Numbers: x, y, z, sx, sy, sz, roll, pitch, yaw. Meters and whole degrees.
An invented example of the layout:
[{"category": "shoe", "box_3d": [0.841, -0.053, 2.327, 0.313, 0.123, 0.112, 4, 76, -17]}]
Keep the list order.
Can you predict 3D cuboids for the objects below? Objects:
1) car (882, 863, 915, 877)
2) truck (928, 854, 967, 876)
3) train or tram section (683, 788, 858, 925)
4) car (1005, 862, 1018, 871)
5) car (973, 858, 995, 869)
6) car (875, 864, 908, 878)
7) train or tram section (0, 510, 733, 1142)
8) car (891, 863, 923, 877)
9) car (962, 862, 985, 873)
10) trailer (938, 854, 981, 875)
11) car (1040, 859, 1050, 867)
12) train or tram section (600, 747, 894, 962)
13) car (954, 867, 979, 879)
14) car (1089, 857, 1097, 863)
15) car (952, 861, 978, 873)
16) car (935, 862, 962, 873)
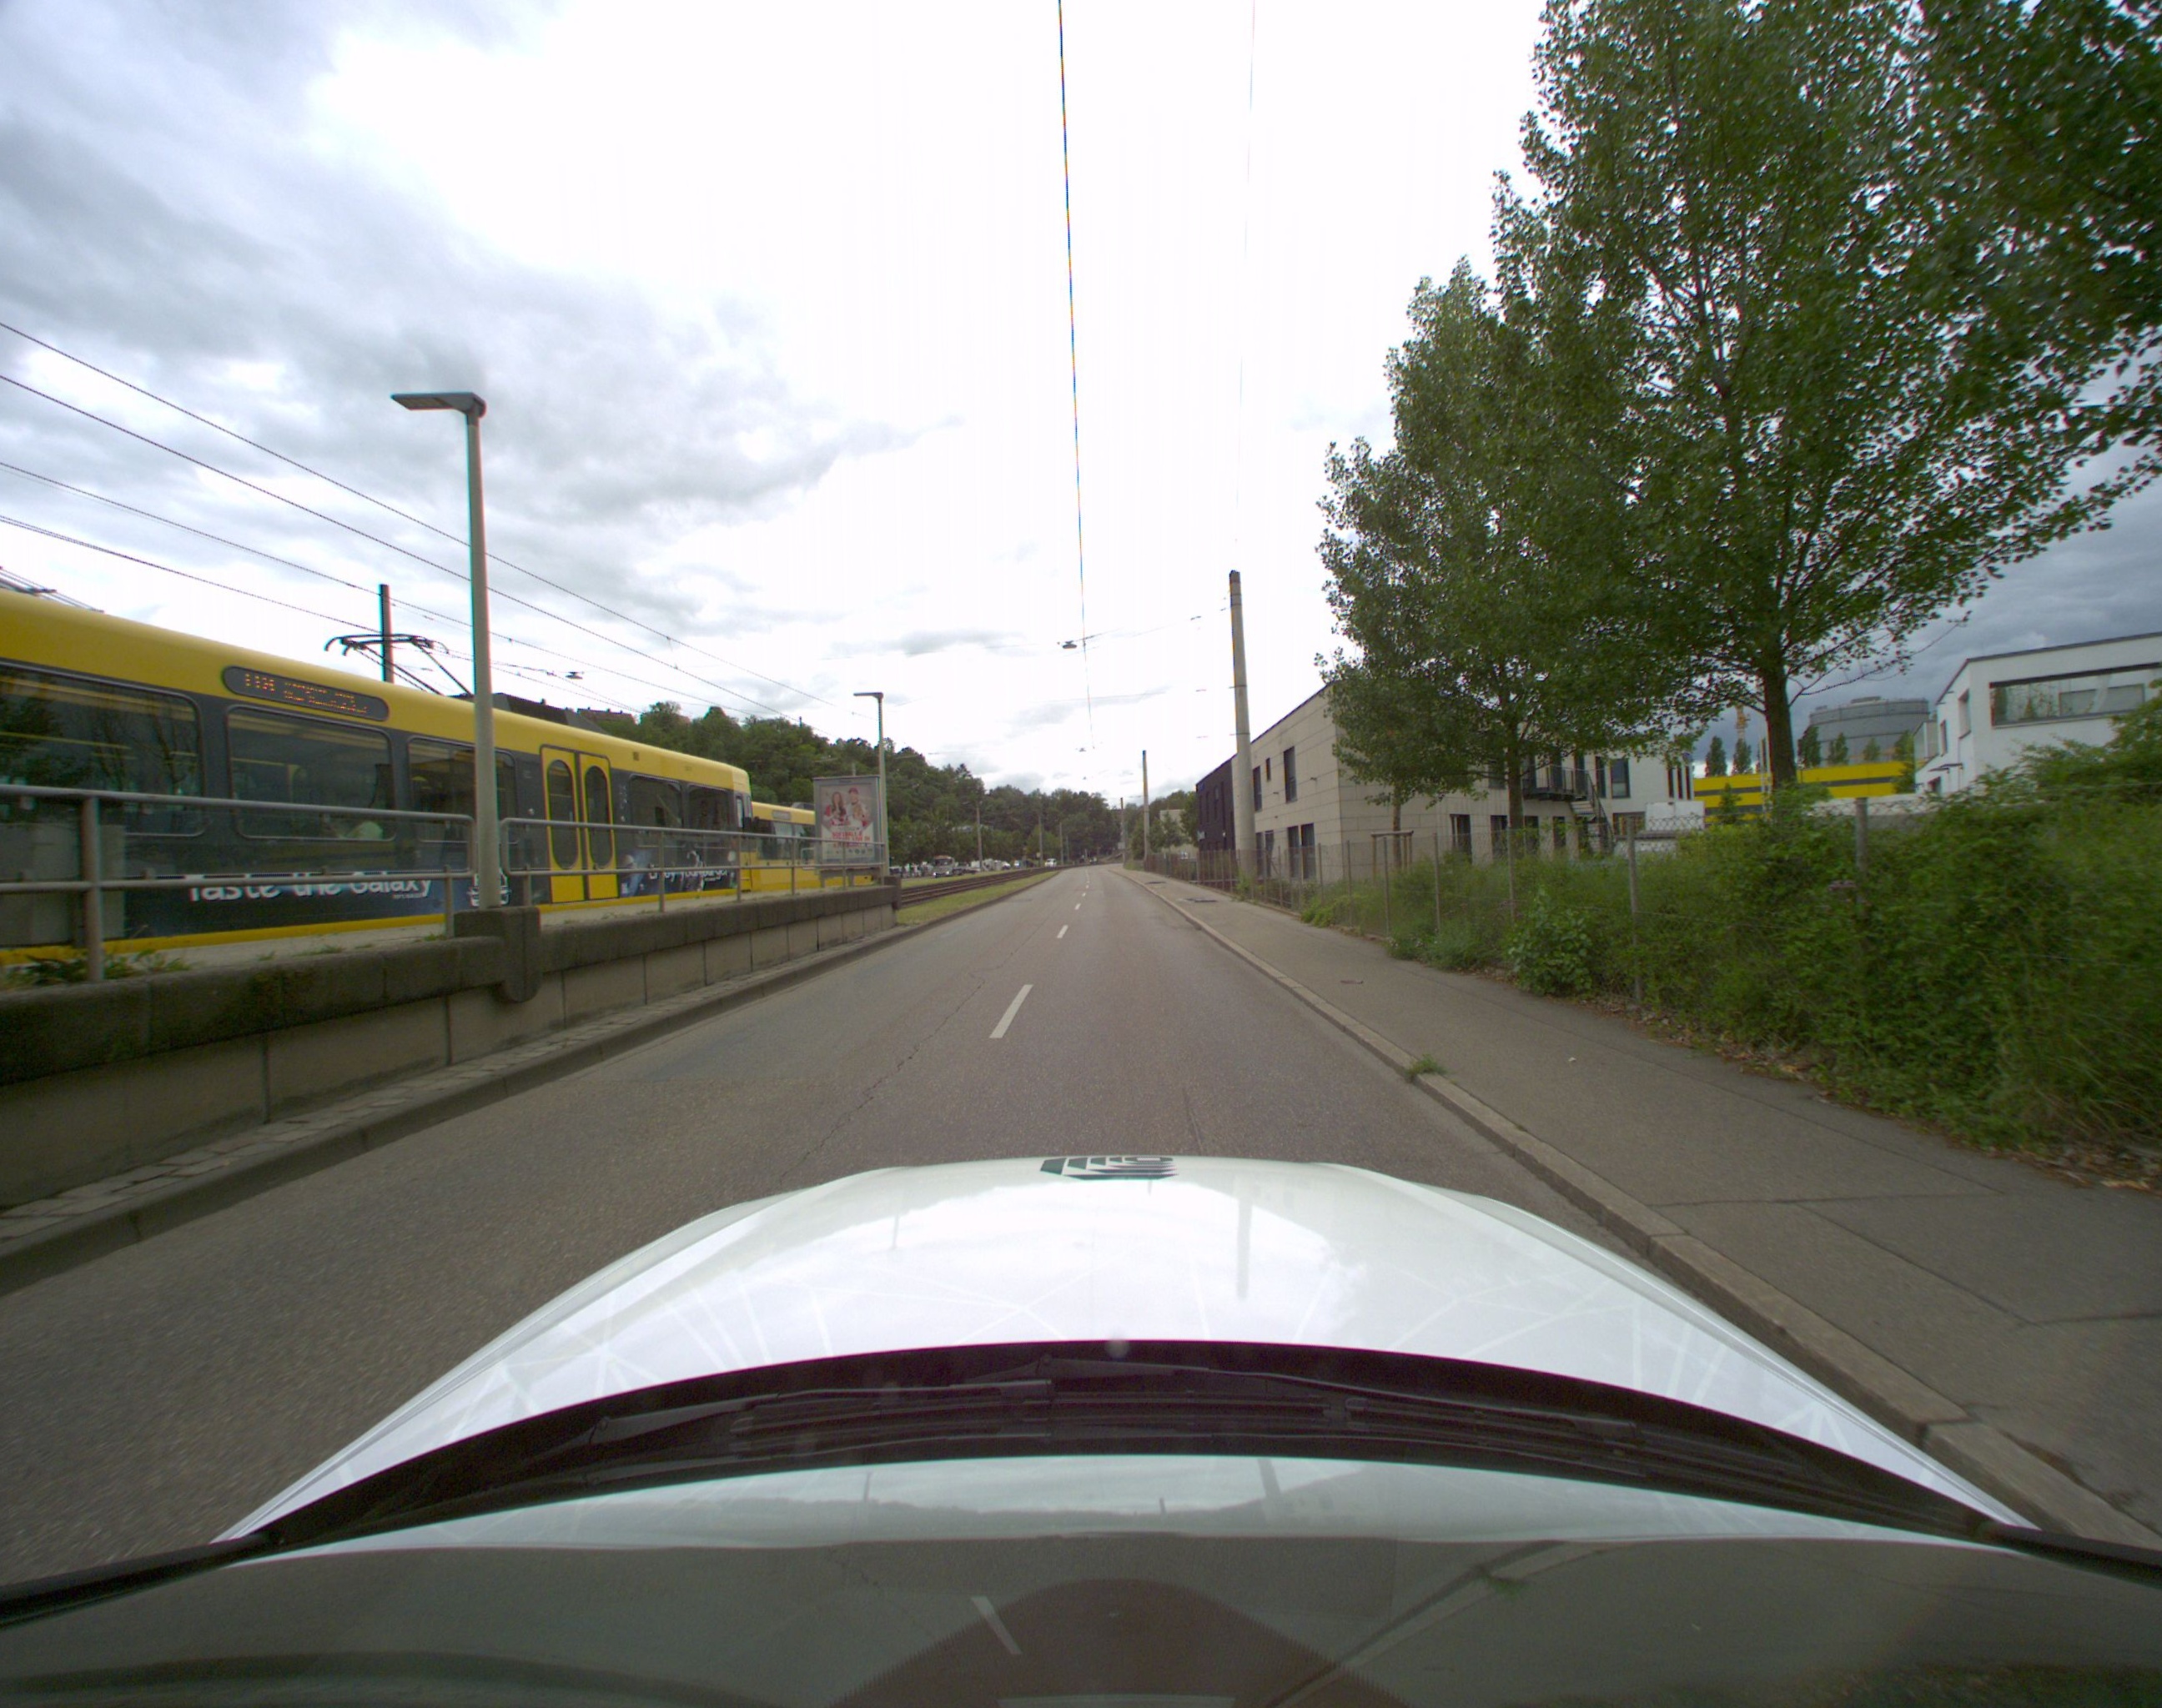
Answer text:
[{"category": "car", "box_3d": [-25.479, 2.190, 113.610, 3.965, 1.706, 1.837, -3, 0, 7]}, {"category": "truck", "box_3d": [-17.397, 1.393, 106.441, 2.866, 2.589, 6.928, -2, 0, 8]}, {"category": "train or tram section", "box_3d": [-10.086, 0.109, 27.721, 1.986, 3.796, 9.182, -3, -1, 2]}, {"category": "car", "box_3d": [-15.574, 2.729, 182.500, 1.816, 1.706, 4.155, -3, -4, 12]}, {"category": "car", "box_3d": [-18.888, 1.867, 158.378, 3.965, 1.706, 1.837, -3, -4, 7]}, {"category": "car", "box_3d": [-25.829, 2.321, 110.995, 3.965, 1.705, 1.838, -3, 1, 7]}, {"category": "train or tram section", "box_3d": [-8.037, -0.172, 9.078, 2.730, 3.966, 11.916, -3, 0, 1]}, {"category": "car", "box_3d": [-24.856, 2.244, 116.286, 3.965, 1.706, 1.838, -3, 0, 7]}, {"category": "car", "box_3d": [-19.894, 2.487, 150.697, 3.965, 1.706, 1.837, -3, -4, 7]}, {"category": "trailer", "box_3d": [-16.563, 1.358, 111.975, 2.875, 2.583, 10.019, -2, 0, 9]}, {"category": "car", "box_3d": [-8.208, 2.061, 186.014, 1.986, 1.640, 4.001, -2, 0, 1]}, {"category": "train or tram section", "box_3d": [-7.708, -0.037, 21.032, 2.961, 4.065, 10.200, -3, 0, 1]}, {"category": "car", "box_3d": [-20.403, 3.385, 145.592, 3.965, 1.705, 1.838, -3, 1, 7]}, {"category": "car", "box_3d": [3.241, 1.712, 223.522, 1.986, 1.640, 4.001, -2, 0, 1]}, {"category": "car", "box_3d": [-20.013, 2.240, 140.191, 3.965, 1.706, 1.837, -3, -4, 7]}, {"category": "car", "box_3d": [-22.208, 2.280, 136.544, 3.965, 1.706, 1.837, -3, -4, 7]}]
